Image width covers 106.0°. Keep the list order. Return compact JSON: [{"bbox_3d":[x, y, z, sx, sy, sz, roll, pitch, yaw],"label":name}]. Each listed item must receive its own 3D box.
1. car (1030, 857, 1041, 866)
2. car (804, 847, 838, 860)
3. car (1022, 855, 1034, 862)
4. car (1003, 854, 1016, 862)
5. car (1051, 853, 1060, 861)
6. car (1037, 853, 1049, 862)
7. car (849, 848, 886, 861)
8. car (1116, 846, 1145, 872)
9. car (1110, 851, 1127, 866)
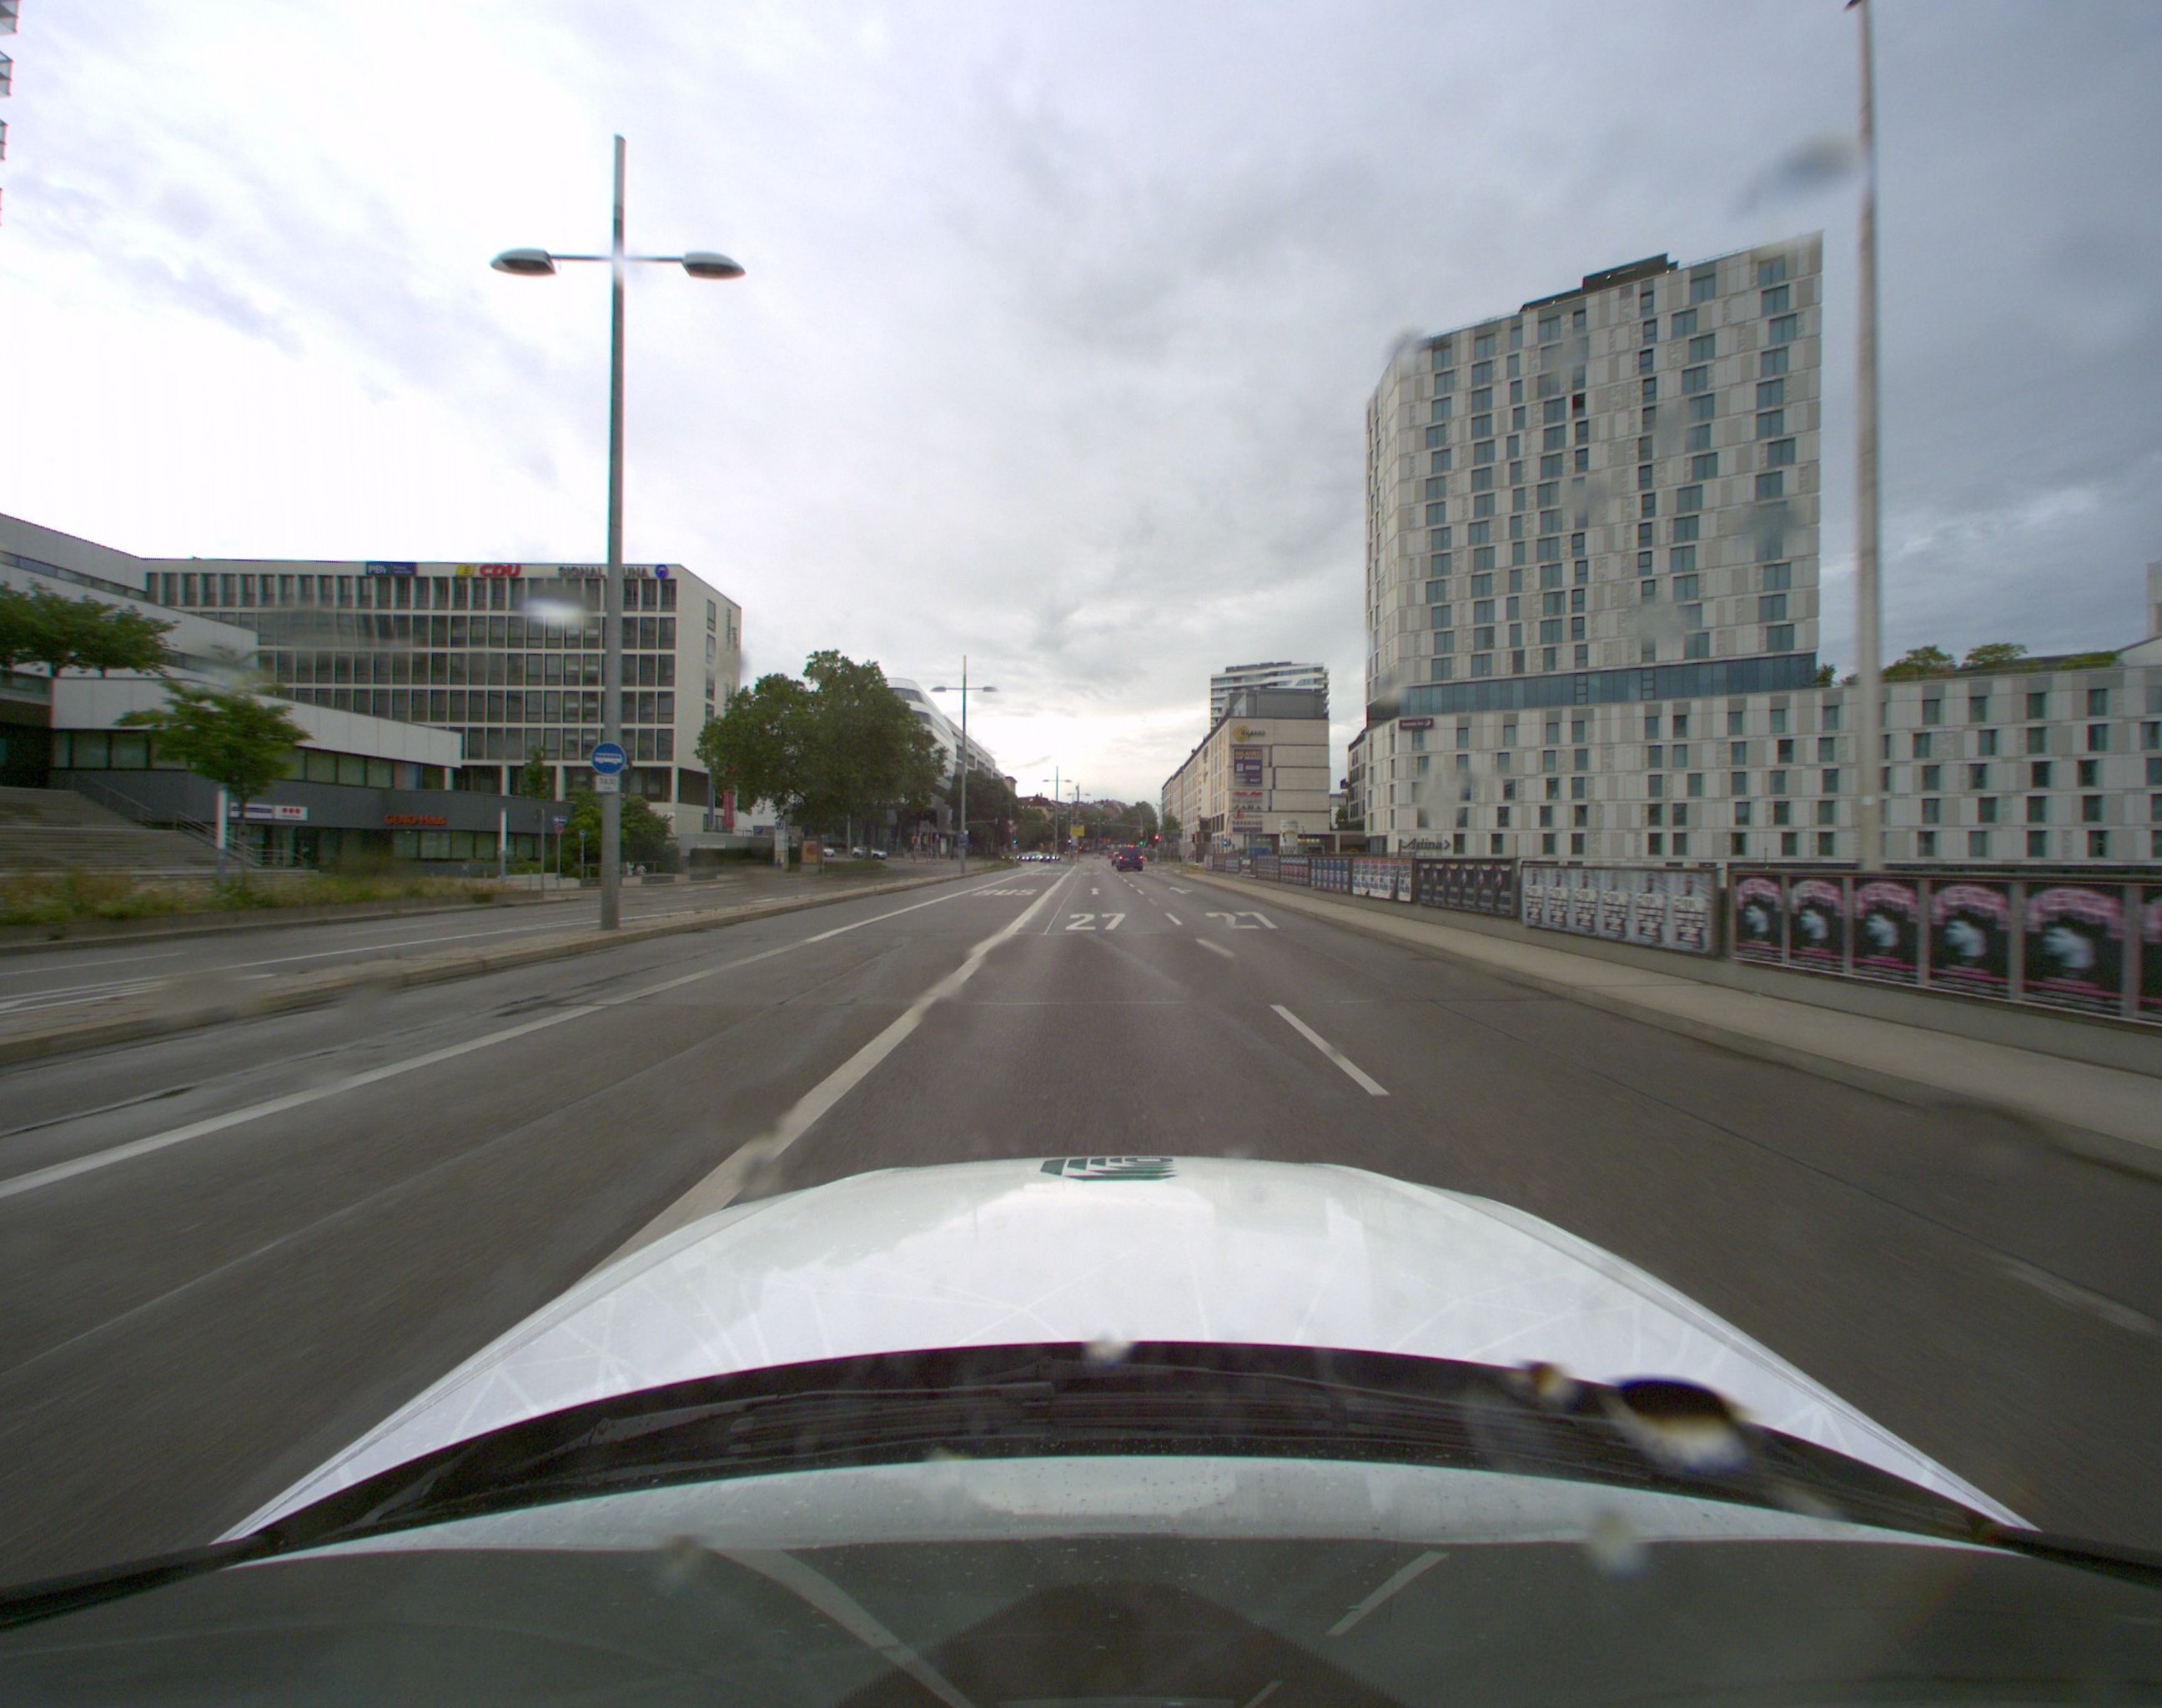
[{"bbox_3d":[-8.793,1.394,158.167,1.737,1.748,3.540,-1,-1,1],"label":"car"},{"bbox_3d":[-35.885,-0.056,112.402,3.956,1.631,1.903,-1,-1,17],"label":"car"},{"bbox_3d":[-8.970,0.752,137.265,1.737,1.257,3.540,0,0,1],"label":"car"},{"bbox_3d":[-12.016,0.664,137.012,1.737,1.328,4.226,-1,-1,1],"label":"car"},{"bbox_3d":[-5.178,0.624,164.551,1.533,1.477,3.696,-1,-1,1],"label":"car"},{"bbox_3d":[-6.275,0.588,136.011,1.737,1.444,3.395,-1,-1,1],"label":"car"},{"bbox_3d":[-28.707,0.049,109.768,4.466,1.631,1.903,-1,-1,17],"label":"car"},{"bbox_3d":[3.940,0.356,65.667,2.025,1.882,5.043,-3,0,1],"label":"car"},{"bbox_3d":[4.105,0.515,90.240,1.734,1.531,3.814,-1,-1,1],"label":"car"}]
